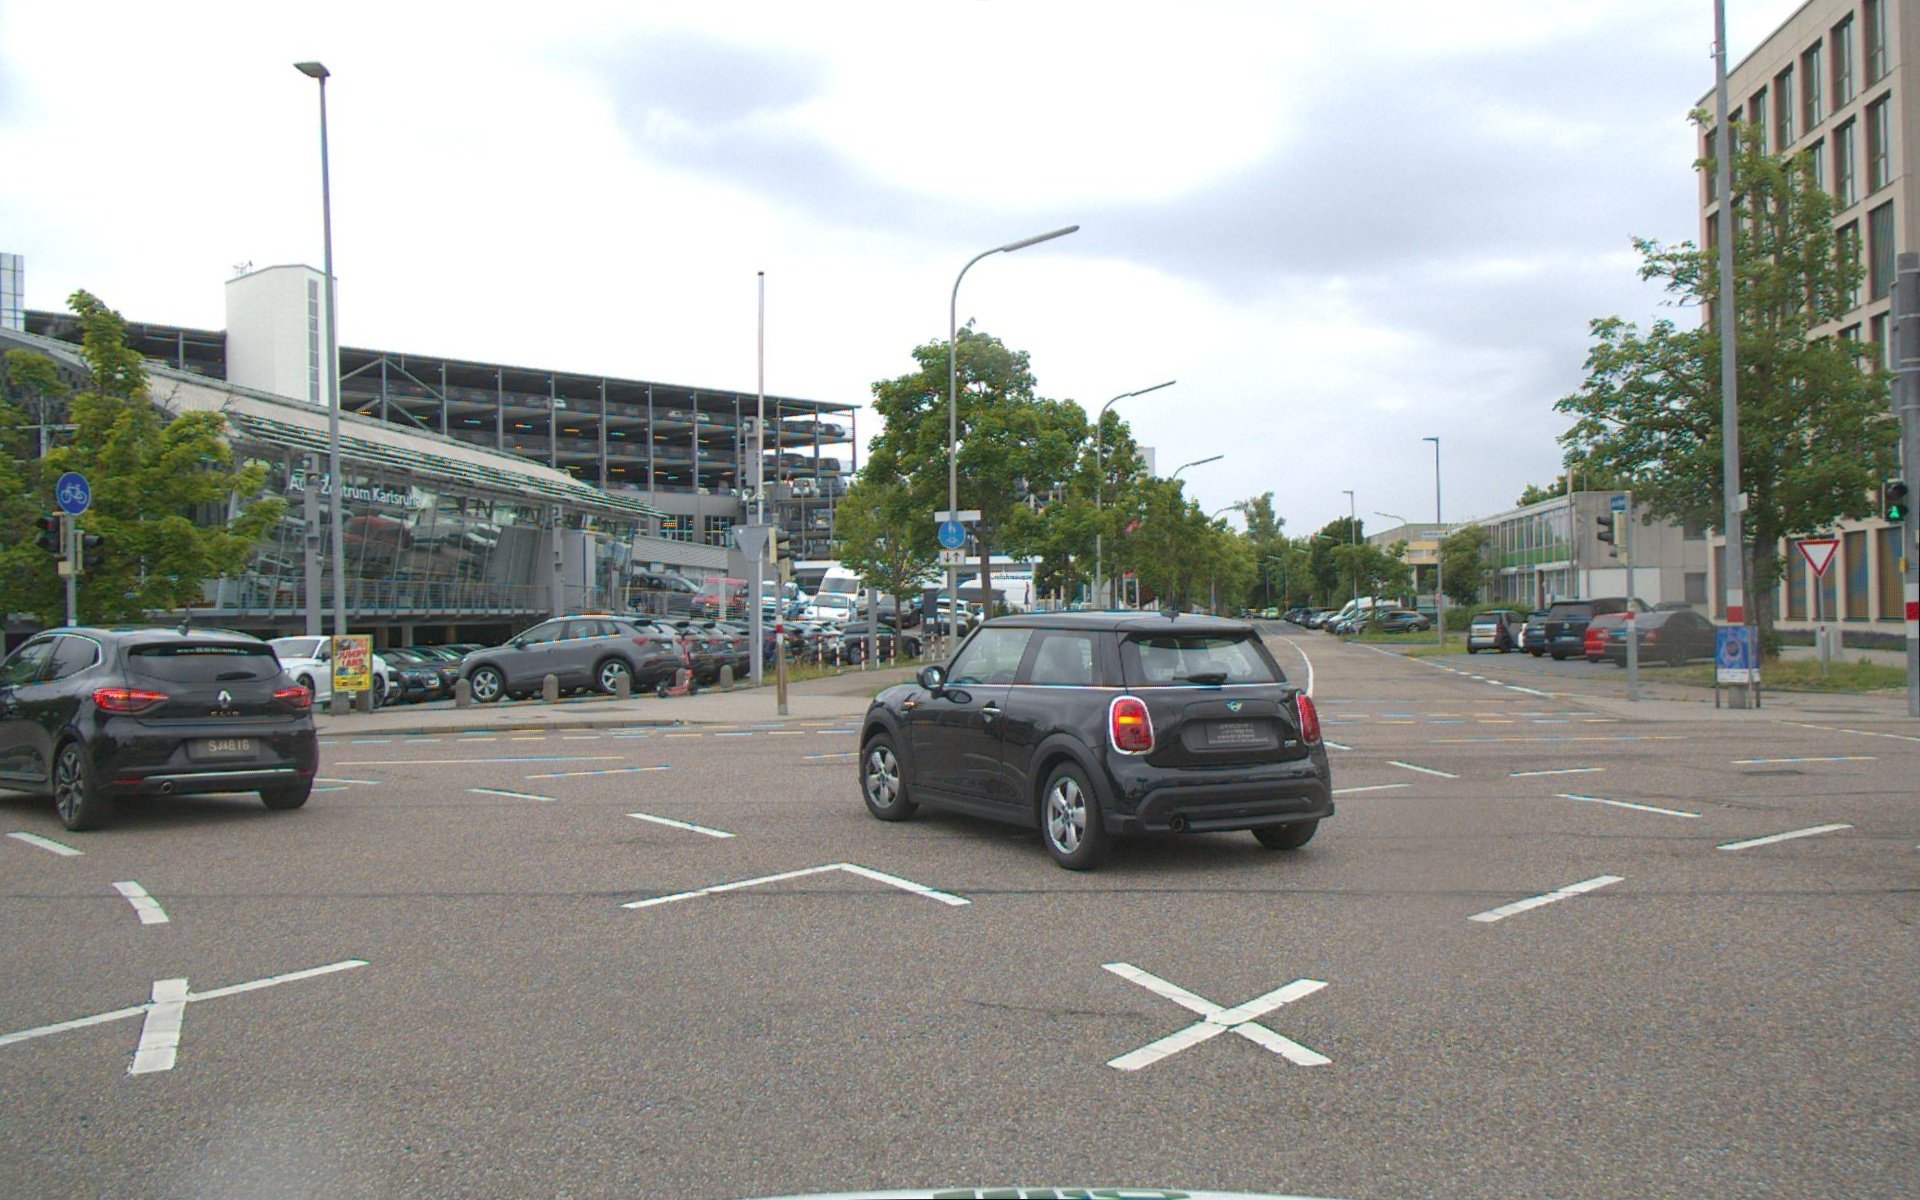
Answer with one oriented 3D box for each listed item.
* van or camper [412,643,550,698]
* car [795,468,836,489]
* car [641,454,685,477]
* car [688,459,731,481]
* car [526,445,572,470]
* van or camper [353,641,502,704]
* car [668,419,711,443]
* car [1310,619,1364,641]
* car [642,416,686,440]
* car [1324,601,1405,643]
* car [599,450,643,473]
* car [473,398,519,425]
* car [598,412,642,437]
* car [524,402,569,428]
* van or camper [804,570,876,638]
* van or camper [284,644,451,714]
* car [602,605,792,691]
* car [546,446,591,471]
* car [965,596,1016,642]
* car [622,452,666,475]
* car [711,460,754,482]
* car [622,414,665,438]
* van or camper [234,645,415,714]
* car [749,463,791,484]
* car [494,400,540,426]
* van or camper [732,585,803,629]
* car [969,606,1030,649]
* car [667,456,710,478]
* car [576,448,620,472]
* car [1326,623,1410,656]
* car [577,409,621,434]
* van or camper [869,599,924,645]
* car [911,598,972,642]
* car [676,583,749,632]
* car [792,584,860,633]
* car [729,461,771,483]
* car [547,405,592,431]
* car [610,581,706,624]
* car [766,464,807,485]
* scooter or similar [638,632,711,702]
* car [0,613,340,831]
[{"bbox_3d":[-15.678,2.294,54.202,3.902,1.742,1.848,0,-2,6],"label":"van or camper"},{"bbox_3d":[-14.559,-12.253,166.882,3.929,1.697,1.988,-1,-1,42],"label":"car"},{"bbox_3d":[-27.275,-12.337,151.812,3.929,1.697,1.988,-1,-1,42],"label":"car"},{"bbox_3d":[-23.668,-12.251,156.149,3.929,1.697,1.988,-1,-1,42],"label":"car"},{"bbox_3d":[-35.463,-12.296,142.655,3.929,1.697,1.988,-1,-1,42],"label":"car"},{"bbox_3d":[-16.306,2.199,50.777,3.902,1.848,1.848,0,-2,6],"label":"van or camper"},{"bbox_3d":[-25.245,-15.757,154.306,3.929,1.697,1.988,-1,-1,42],"label":"car"},{"bbox_3d":[34.854,2.800,153.082,4.683,1.924,2.145,0,-2,8],"label":"car"},{"bbox_3d":[-27.224,-15.755,151.963,3.929,1.697,1.988,-1,-1,42],"label":"car"},{"bbox_3d":[31.607,1.732,129.277,5.986,3.171,2.135,0,-2,9],"label":"car"},{"bbox_3d":[-30.390,-12.395,148.270,3.929,1.697,1.988,-1,-1,42],"label":"car"},{"bbox_3d":[-38.954,-15.820,138.777,3.929,1.697,1.988,-1,-1,42],"label":"car"},{"bbox_3d":[-30.540,-15.719,148.377,3.929,1.697,1.988,-1,-1,42],"label":"car"},{"bbox_3d":[-35.676,-15.923,142.696,3.929,1.697,1.988,-1,-1,42],"label":"car"},{"bbox_3d":[-5.629,0.249,78.296,2.482,3.080,4.846,0,-2,7],"label":"van or camper"},{"bbox_3d":[-16.393,2.163,45.878,3.902,1.848,1.848,0,-2,6],"label":"van or camper"},{"bbox_3d":[-7.103,1.307,44.911,4.673,2.049,2.001,-3,-2,4],"label":"car"},{"bbox_3d":[-34.229,-12.363,144.547,3.929,1.697,1.988,-1,-1,42],"label":"car"},{"bbox_3d":[1.451,0.926,77.351,1.951,2.049,4.002,0,-2,7],"label":"car"},{"bbox_3d":[-28.739,-12.375,150.198,3.929,1.697,1.988,-1,-1,42],"label":"car"},{"bbox_3d":[-21.768,-12.331,158.251,3.929,1.697,1.988,-1,-1,42],"label":"car"},{"bbox_3d":[-28.789,-15.827,150.399,3.929,1.697,1.988,-1,-1,42],"label":"car"},{"bbox_3d":[-16.621,2.063,43.359,3.902,1.707,2.001,0,-2,6],"label":"van or camper"},{"bbox_3d":[-18.646,-12.402,162.239,3.929,1.697,1.988,-1,-1,42],"label":"car"},{"bbox_3d":[-37.651,-15.904,140.624,3.929,1.697,1.988,-1,-1,42],"label":"car"},{"bbox_3d":[-7.767,0.312,67.117,1.951,1.680,4.002,0,-2,6],"label":"van or camper"},{"bbox_3d":[1.630,1.141,66.377,1.951,1.646,4.003,0,-2,8],"label":"car"},{"bbox_3d":[-25.258,-12.383,154.054,3.929,1.697,1.988,-1,-1,42],"label":"car"},{"bbox_3d":[-32.062,-12.402,146.416,3.929,1.697,1.988,-1,-1,42],"label":"car"},{"bbox_3d":[26.395,2.549,107.193,5.063,2.049,2.145,0,-2,8],"label":"car"},{"bbox_3d":[-32.015,-15.789,146.604,3.929,1.697,1.988,-1,-1,42],"label":"car"},{"bbox_3d":[-2.940,1.068,77.756,1.951,2.049,4.002,0,-2,7],"label":"van or camper"},{"bbox_3d":[-0.704,0.831,66.226,1.951,1.646,4.002,0,-2,7],"label":"car"},{"bbox_3d":[-10.087,0.318,67.790,1.951,1.881,4.002,0,-2,7],"label":"car"},{"bbox_3d":[-5.371,0.361,66.799,1.951,1.855,4.002,0,-2,7],"label":"car"},{"bbox_3d":[-20.323,-12.347,159.980,3.929,1.697,1.988,-1,-1,42],"label":"car"},{"bbox_3d":[-34.110,-15.858,144.306,3.929,1.697,1.988,-1,-1,42],"label":"car"},{"bbox_3d":[-13.728,0.109,75.238,3.902,1.870,1.761,0,-2,8],"label":"car"},{"bbox_3d":[-17.231,-12.416,163.970,3.929,1.697,1.988,-1,-1,42],"label":"car"},{"bbox_3d":[-5.333,1.243,30.972,0.546,1.240,1.559,1,0,24],"label":"scooter or similar"},{"bbox_3d":[-6.657,0.848,13.104,3.931,1.460,1.751,-1,-1,43],"label":"car"}]
